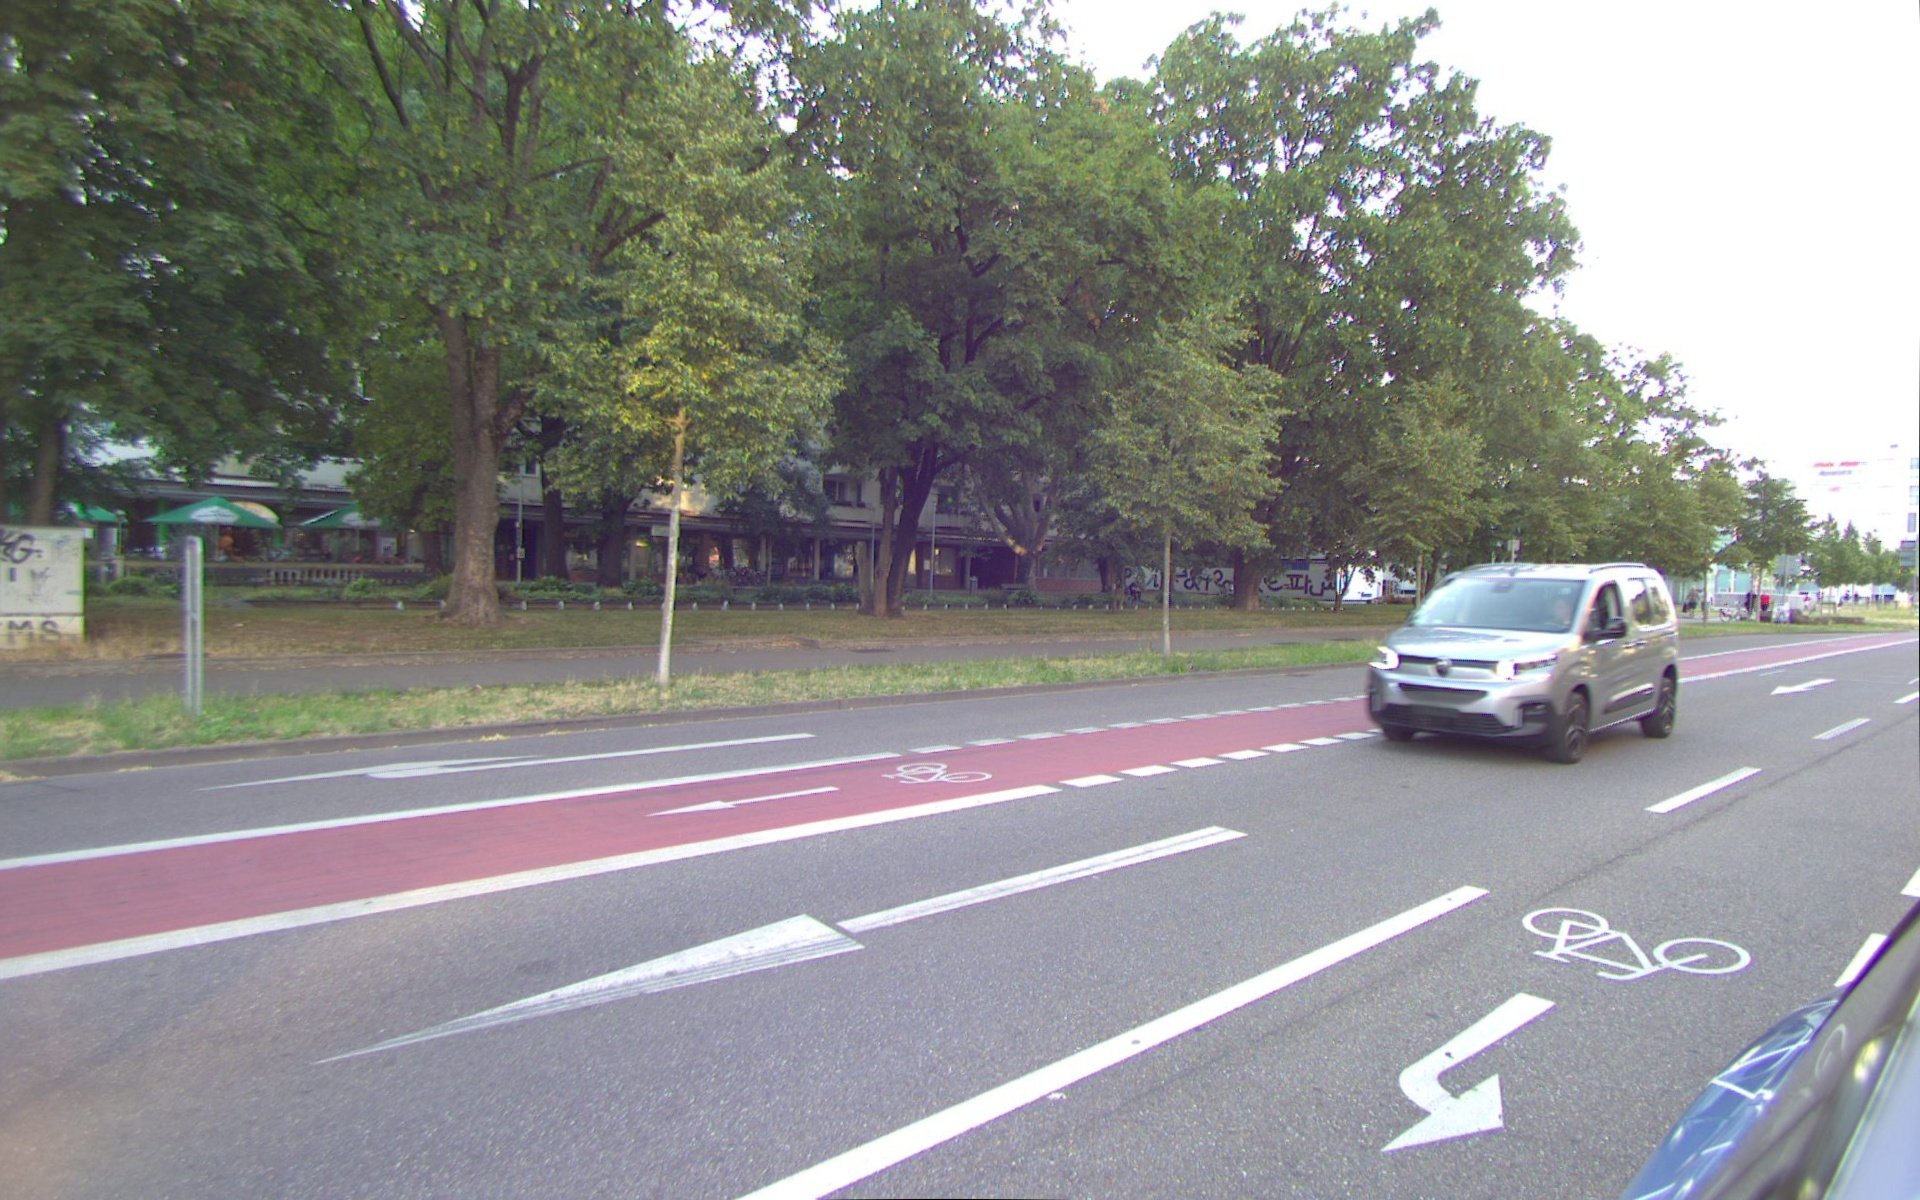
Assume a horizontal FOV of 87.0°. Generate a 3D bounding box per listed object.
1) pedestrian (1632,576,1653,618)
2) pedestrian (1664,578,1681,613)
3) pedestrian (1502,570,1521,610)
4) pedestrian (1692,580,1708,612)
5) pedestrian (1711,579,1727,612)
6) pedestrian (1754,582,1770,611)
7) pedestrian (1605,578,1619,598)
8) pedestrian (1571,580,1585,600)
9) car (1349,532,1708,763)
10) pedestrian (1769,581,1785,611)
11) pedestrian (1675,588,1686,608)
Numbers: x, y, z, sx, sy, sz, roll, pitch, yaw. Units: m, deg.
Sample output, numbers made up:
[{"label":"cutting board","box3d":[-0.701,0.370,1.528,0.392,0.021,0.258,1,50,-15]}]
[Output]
[{"label":"pedestrian","box3d":[28.960,-0.115,42.950,0.546,1.760,0.558,0,2,-41]},{"label":"pedestrian","box3d":[36.417,-0.224,51.735,0.707,1.751,0.508,0,2,-40]},{"label":"pedestrian","box3d":[22.629,-0.414,41.516,0.513,1.621,0.500,0,2,-41]},{"label":"pedestrian","box3d":[40.935,-0.231,55.967,0.707,1.751,0.519,0,2,-40]},{"label":"pedestrian","box3d":[41.386,-0.248,55.164,0.707,1.751,0.508,0,2,-40]},{"label":"pedestrian","box3d":[50.369,-0.247,63.549,0.497,1.779,0.638,0,2,-40]},{"label":"pedestrian","box3d":[45.671,-0.866,70.931,0.550,1.371,0.662,0,2,-40]},{"label":"pedestrian","box3d":[44.052,-0.715,72.191,0.669,1.371,0.631,0,2,-41]},{"label":"car","box3d":[6.012,0.375,10.474,4.419,1.912,1.767,0,1,-40]},{"label":"pedestrian","box3d":[50.745,-0.248,62.871,0.497,1.779,0.638,0,2,-40]},{"label":"pedestrian","box3d":[50.201,-0.147,70.502,0.427,1.371,0.508,0,2,-40]}]
